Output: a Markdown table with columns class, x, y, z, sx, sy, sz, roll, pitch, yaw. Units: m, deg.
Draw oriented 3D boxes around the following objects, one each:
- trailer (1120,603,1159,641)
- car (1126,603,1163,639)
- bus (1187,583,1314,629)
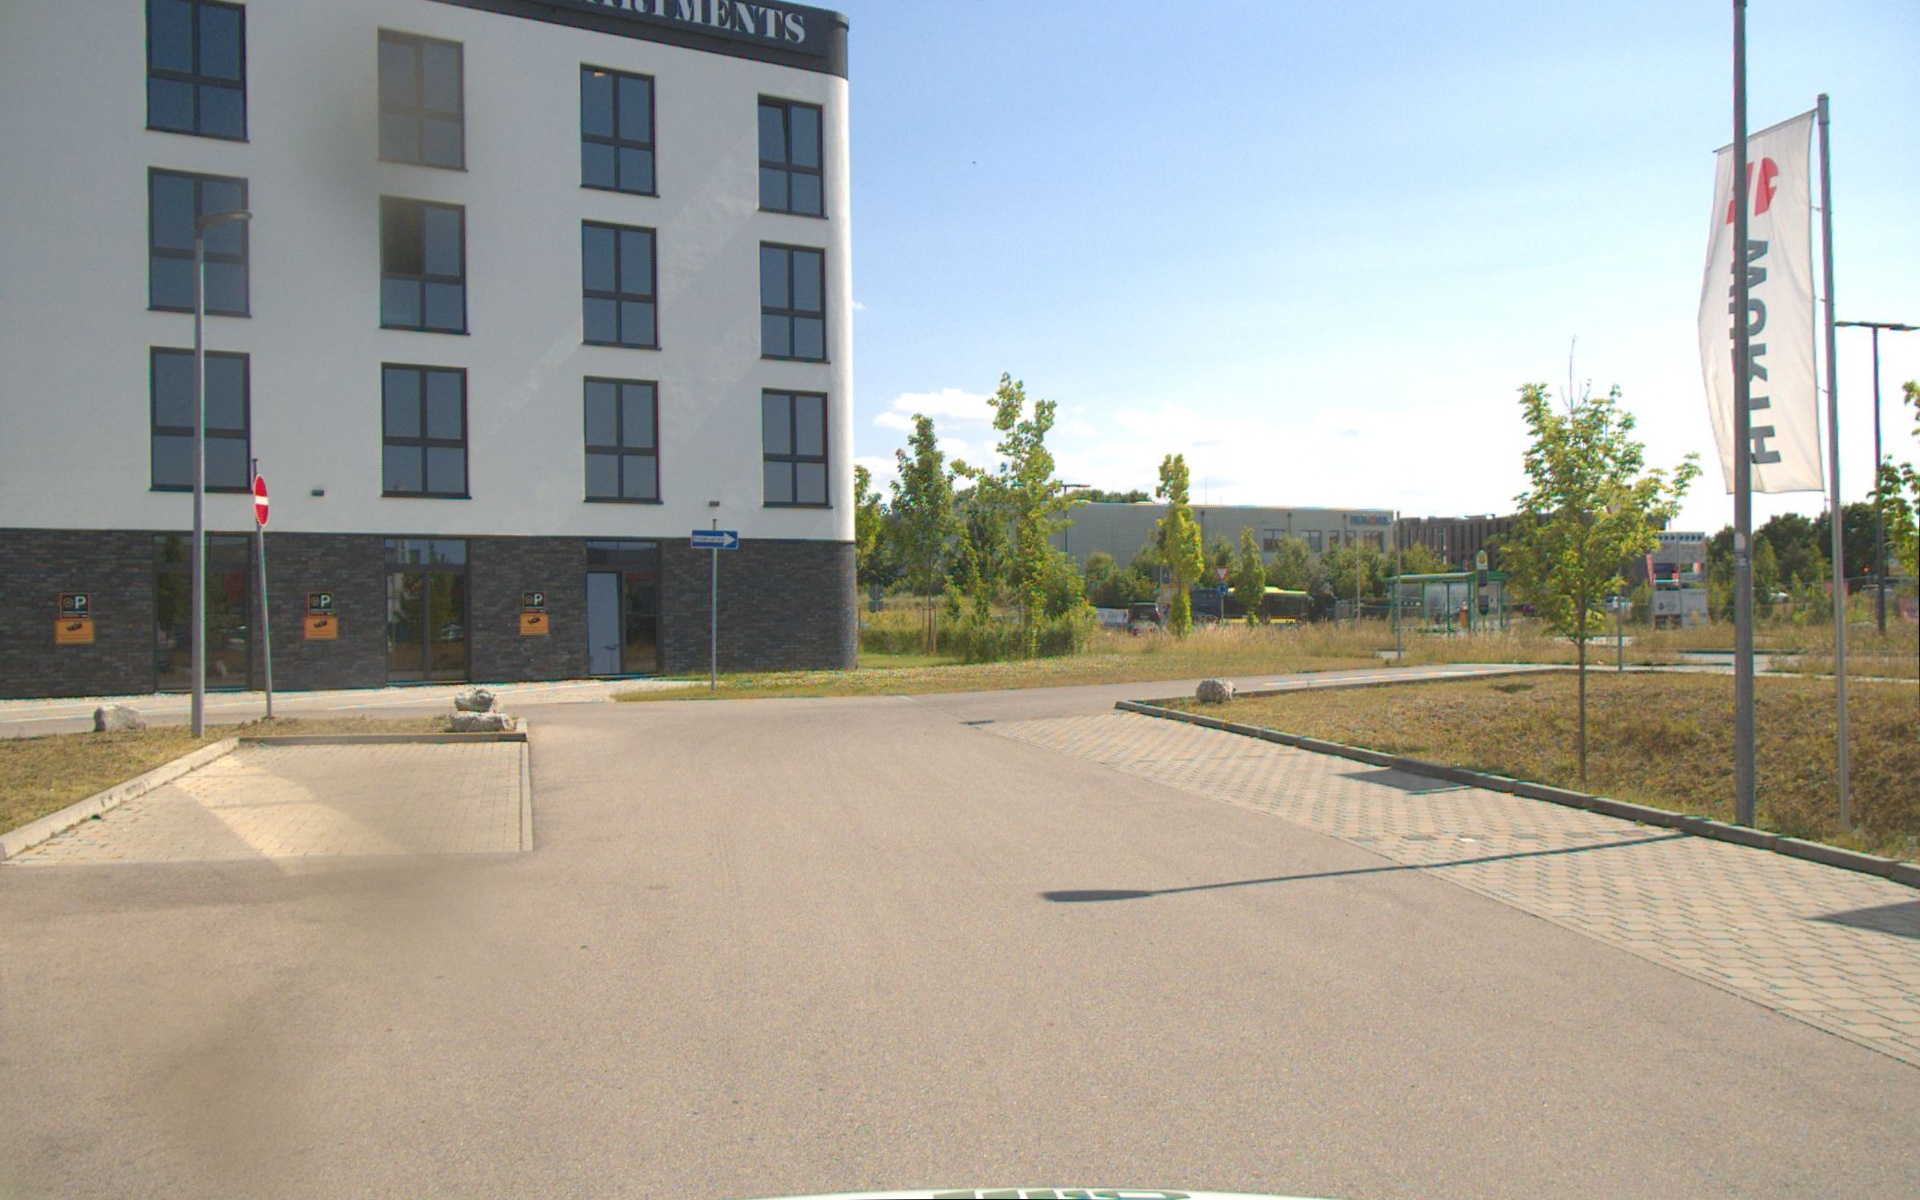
| class | x | y | z | sx | sy | sz | roll | pitch | yaw |
| --- | --- | --- | --- | --- | --- | --- | --- | --- | --- |
| trailer | 9.289 | 1.125 | 85.340 | 1.783 | 1.892 | 4.003 | 0 | 0 | 9 |
| car | 9.965 | 1.134 | 89.230 | 1.783 | 1.892 | 4.003 | 0 | 0 | 9 |
| bus | 18.862 | 0.338 | 106.445 | 2.533 | 2.783 | 11.504 | -1 | 0 | 41 |
